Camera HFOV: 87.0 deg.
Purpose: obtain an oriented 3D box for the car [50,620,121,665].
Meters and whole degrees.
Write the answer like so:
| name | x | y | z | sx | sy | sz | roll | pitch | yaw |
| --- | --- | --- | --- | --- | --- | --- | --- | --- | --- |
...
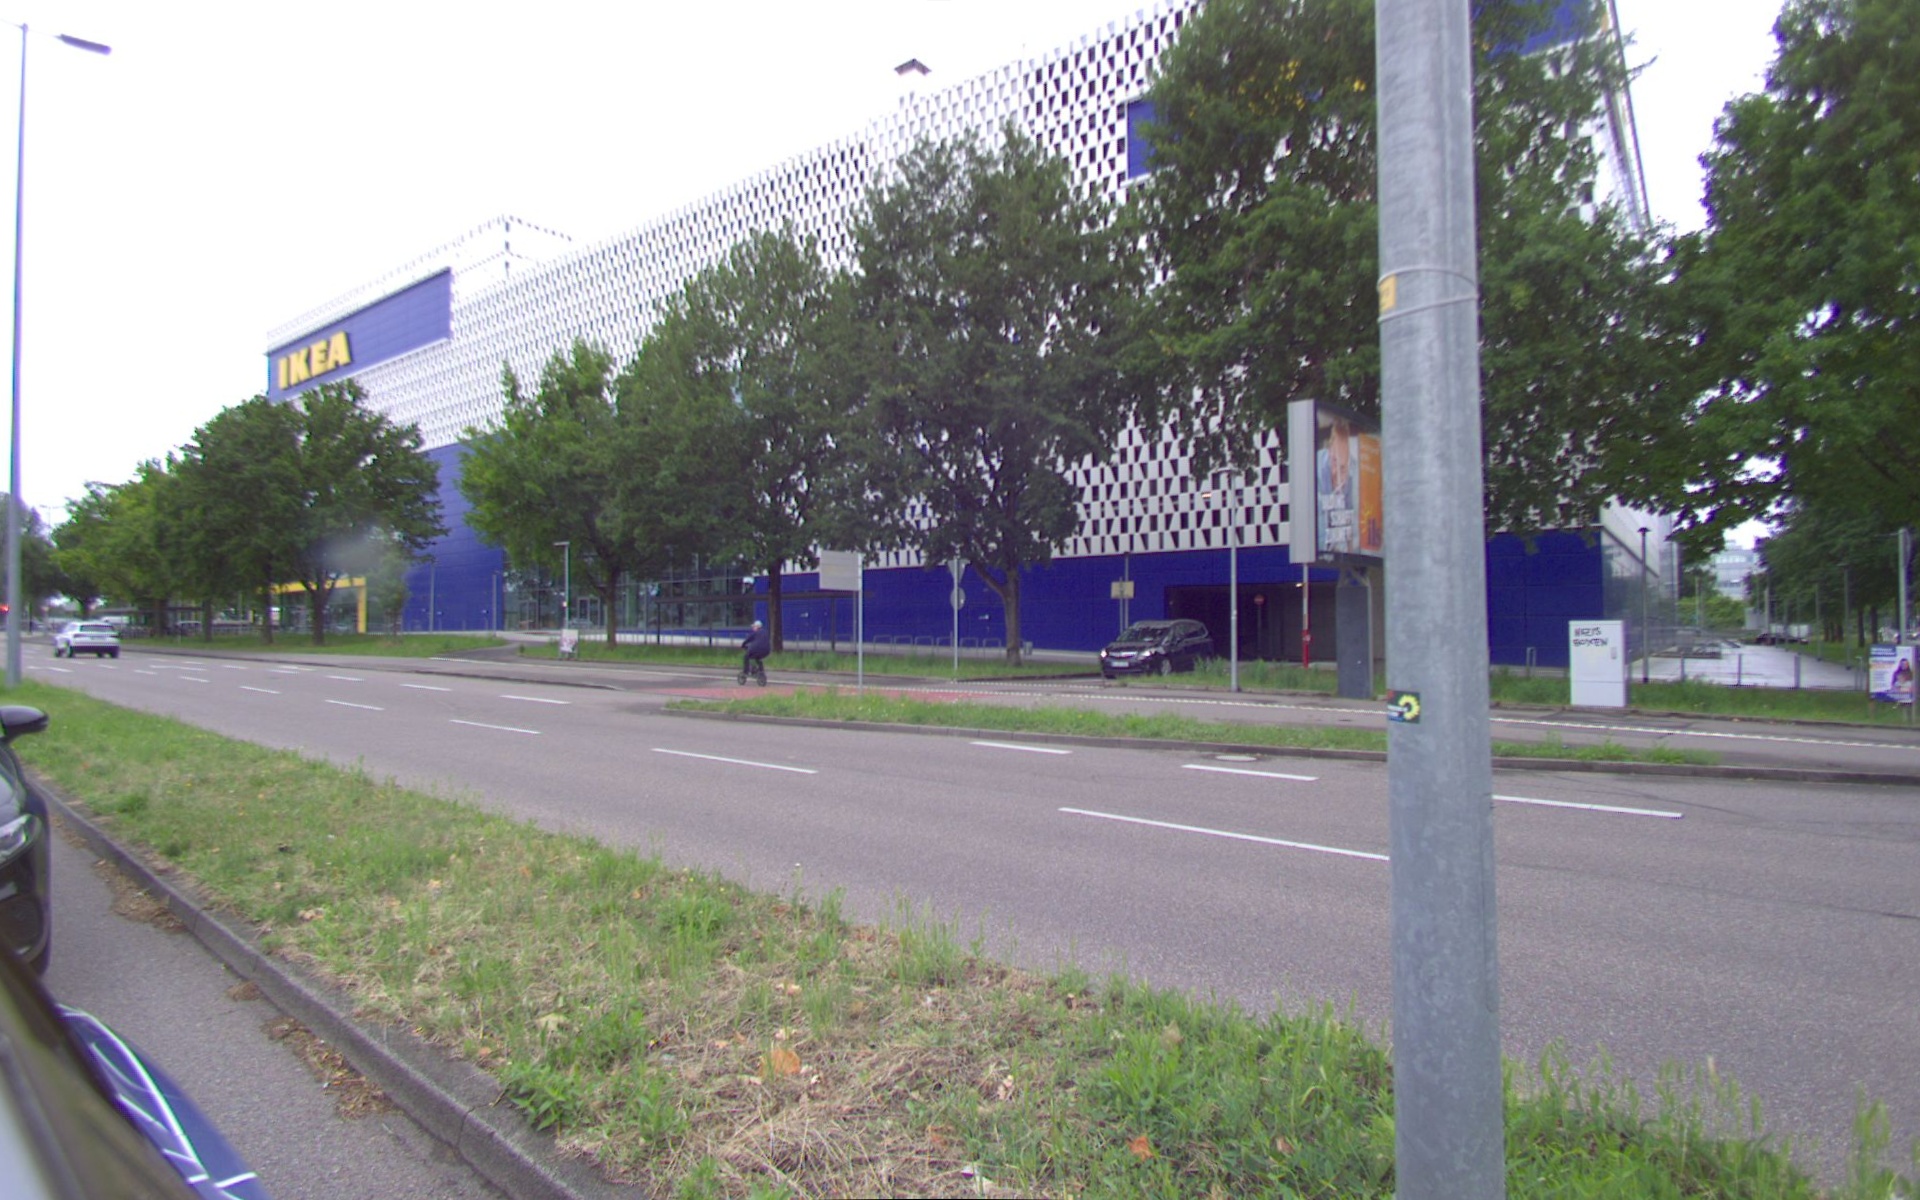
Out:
| name | x | y | z | sx | sy | sz | roll | pitch | yaw |
| --- | --- | --- | --- | --- | --- | --- | --- | --- | --- |
| car | -40.156 | 1.897 | 46.462 | 3.921 | 1.900 | 1.824 | -1 | 0 | 39 |

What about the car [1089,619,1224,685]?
| name | x | y | z | sx | sy | sz | roll | pitch | yaw |
| --- | --- | --- | --- | --- | --- | --- | --- | --- | --- |
| car | 5.567 | 1.401 | 28.311 | 1.847 | 1.668 | 4.303 | -2 | -2 | 40 |

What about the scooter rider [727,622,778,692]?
| name | x | y | z | sx | sy | sz | roll | pitch | yaw |
| --- | --- | --- | --- | --- | --- | --- | --- | --- | --- |
| scooter rider | -5.306 | 1.435 | 25.894 | 1.033 | 1.733 | 0.791 | -1 | -1 | 24 |

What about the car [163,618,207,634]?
| name | x | y | z | sx | sy | sz | roll | pitch | yaw |
| --- | --- | --- | --- | --- | --- | --- | --- | --- | --- |
| car | -86.306 | 2.882 | 112.741 | 1.741 | 1.652 | 3.522 | -1 | 0 | 37 |

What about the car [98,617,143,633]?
| name | x | y | z | sx | sy | sz | roll | pitch | yaw |
| --- | --- | --- | --- | --- | --- | --- | --- | --- | --- |
| car | -118.526 | 3.527 | 142.931 | 1.998 | 2.029 | 4.650 | -1 | 0 | 38 |

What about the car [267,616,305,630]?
| name | x | y | z | sx | sy | sz | roll | pitch | yaw |
| --- | --- | --- | --- | --- | --- | --- | --- | --- | --- |
| car | -93.628 | 3.249 | 140.611 | 1.994 | 1.829 | 3.956 | -1 | 0 | 33 |

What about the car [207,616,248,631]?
| name | x | y | z | sx | sy | sz | roll | pitch | yaw |
| --- | --- | --- | --- | --- | --- | --- | --- | --- | --- |
| car | -97.656 | 3.106 | 134.907 | 1.994 | 1.829 | 3.956 | -1 | 0 | 33 |

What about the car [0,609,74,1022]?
| name | x | y | z | sx | sy | sz | roll | pitch | yaw |
| --- | --- | --- | --- | --- | --- | --- | --- | --- | --- |
| car | -5.424 | 0.827 | 4.396 | 4.194 | 1.445 | 1.835 | -2 | -1 | 41 |

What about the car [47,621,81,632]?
| name | x | y | z | sx | sy | sz | roll | pitch | yaw |
| --- | --- | --- | --- | --- | --- | --- | --- | --- | --- |
| car | -161.072 | 4.730 | 181.975 | 1.741 | 1.837 | 4.239 | -1 | 0 | 37 |

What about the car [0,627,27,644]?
| name | x | y | z | sx | sy | sz | roll | pitch | yaw |
| --- | --- | --- | --- | --- | --- | --- | --- | --- | --- |
| car | -120.301 | 4.505 | 127.383 | 1.998 | 2.029 | 3.948 | -1 | 0 | 38 |

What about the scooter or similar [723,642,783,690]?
| name | x | y | z | sx | sy | sz | roll | pitch | yaw |
| --- | --- | --- | --- | --- | --- | --- | --- | --- | --- |
| scooter or similar | -5.289 | 1.673 | 25.888 | 1.417 | 1.134 | 0.585 | -1 | 2 | 24 |

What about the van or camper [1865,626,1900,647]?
| name | x | y | z | sx | sy | sz | roll | pitch | yaw |
| --- | --- | --- | --- | --- | --- | --- | --- | --- | --- |
| van or camper | 82.521 | 3.288 | 90.592 | 1.998 | 1.735 | 4.336 | -2 | -5 | 39 |

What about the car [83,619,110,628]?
| name | x | y | z | sx | sy | sz | roll | pitch | yaw |
| --- | --- | --- | --- | --- | --- | --- | --- | --- | --- |
| car | -158.334 | 4.339 | 185.658 | 1.741 | 1.652 | 3.522 | -1 | 0 | 37 |
